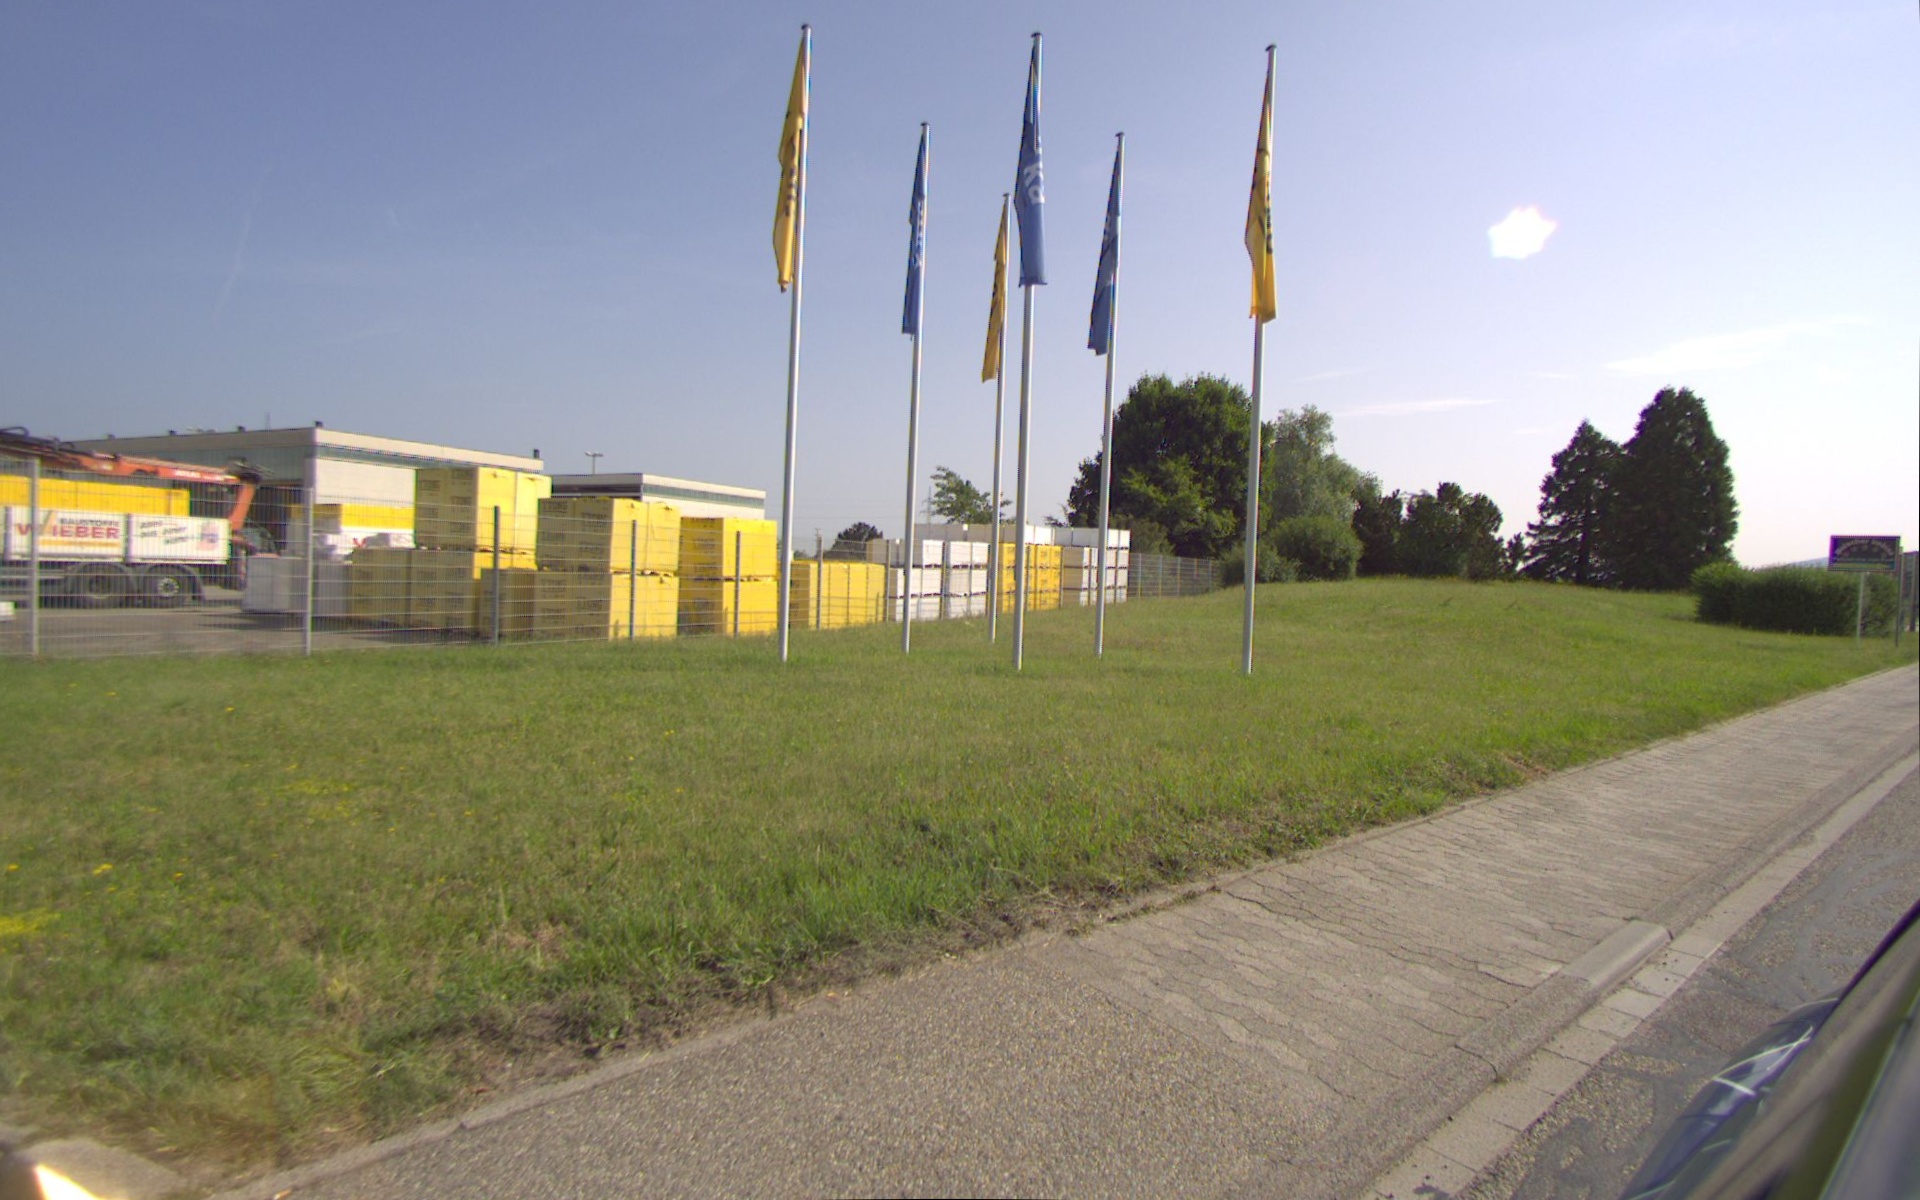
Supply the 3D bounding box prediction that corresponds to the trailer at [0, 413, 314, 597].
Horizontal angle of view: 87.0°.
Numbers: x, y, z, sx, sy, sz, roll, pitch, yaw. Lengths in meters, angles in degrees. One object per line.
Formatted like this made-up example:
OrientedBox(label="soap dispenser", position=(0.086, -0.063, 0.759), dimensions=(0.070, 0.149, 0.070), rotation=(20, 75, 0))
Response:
OrientedBox(label="trailer", position=(-20.331, -2.076, 24.528), dimensions=(2.461, 3.924, 7.729), rotation=(0, 1, 27))
